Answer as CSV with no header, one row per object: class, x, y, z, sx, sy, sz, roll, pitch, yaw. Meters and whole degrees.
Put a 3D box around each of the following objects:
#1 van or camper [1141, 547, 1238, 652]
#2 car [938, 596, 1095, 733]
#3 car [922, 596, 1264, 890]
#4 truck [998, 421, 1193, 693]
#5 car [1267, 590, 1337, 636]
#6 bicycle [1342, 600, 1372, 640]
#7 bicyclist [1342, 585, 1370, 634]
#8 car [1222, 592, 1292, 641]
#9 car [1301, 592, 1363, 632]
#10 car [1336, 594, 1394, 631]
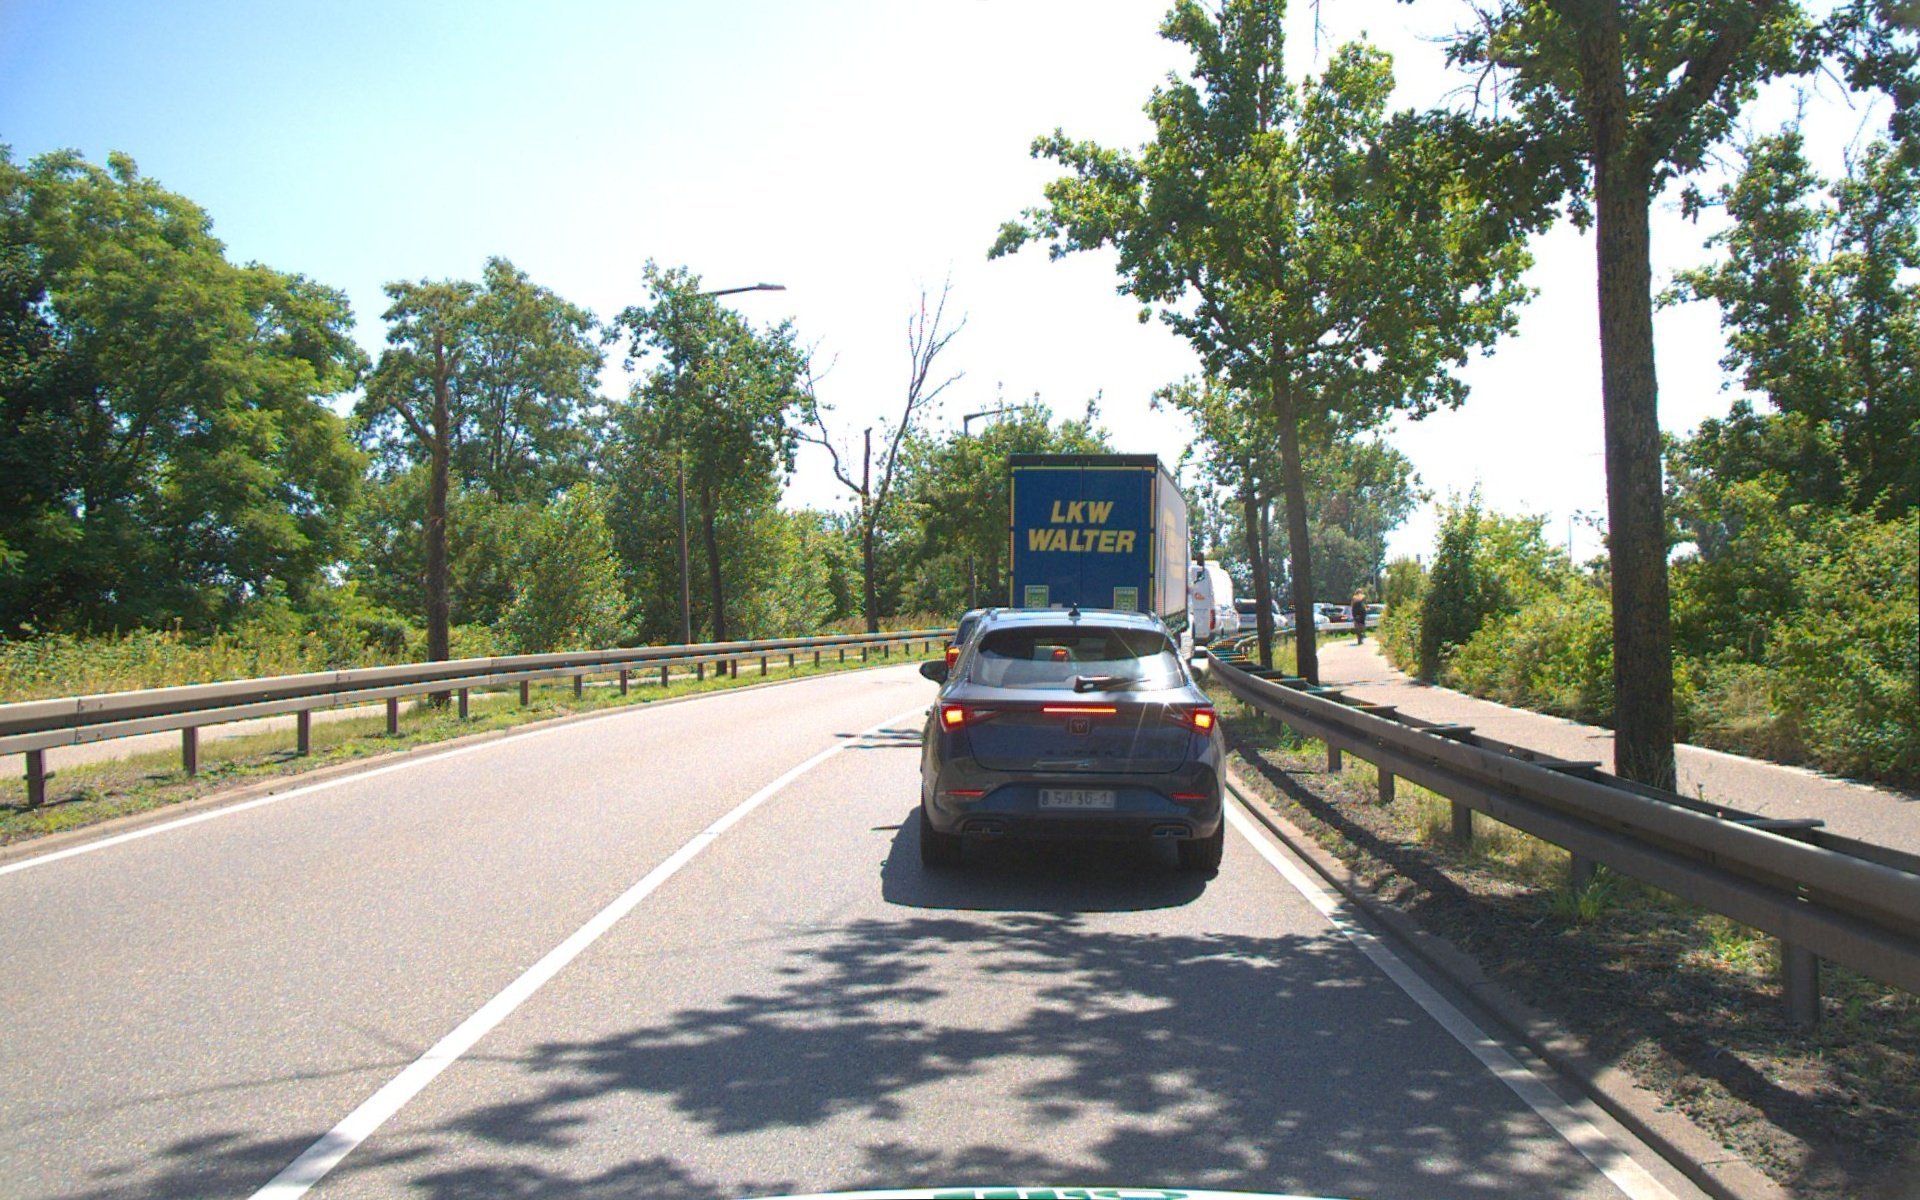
van or camper,7.200,-0.006,51.311,2.414,3.051,6.091,0,0,13
car,0.756,0.744,20.814,1.771,1.534,4.002,1,0,3
car,0.638,0.730,10.235,1.709,1.457,3.879,1,0,-1
truck,3.438,-0.674,36.022,2.887,4.527,16.811,1,0,9
car,14.369,0.547,69.258,1.953,1.840,4.844,0,0,23
bicycle,12.680,0.628,52.903,0.842,1.258,2.311,0,0,11
bicyclist,12.646,0.297,52.846,0.842,1.550,0.981,0,-1,11
car,11.125,0.610,61.679,1.952,1.742,4.622,0,0,18
car,17.248,0.559,76.560,1.953,1.747,4.867,0,0,23
car,20.319,0.627,82.821,1.954,1.799,4.751,0,0,25
